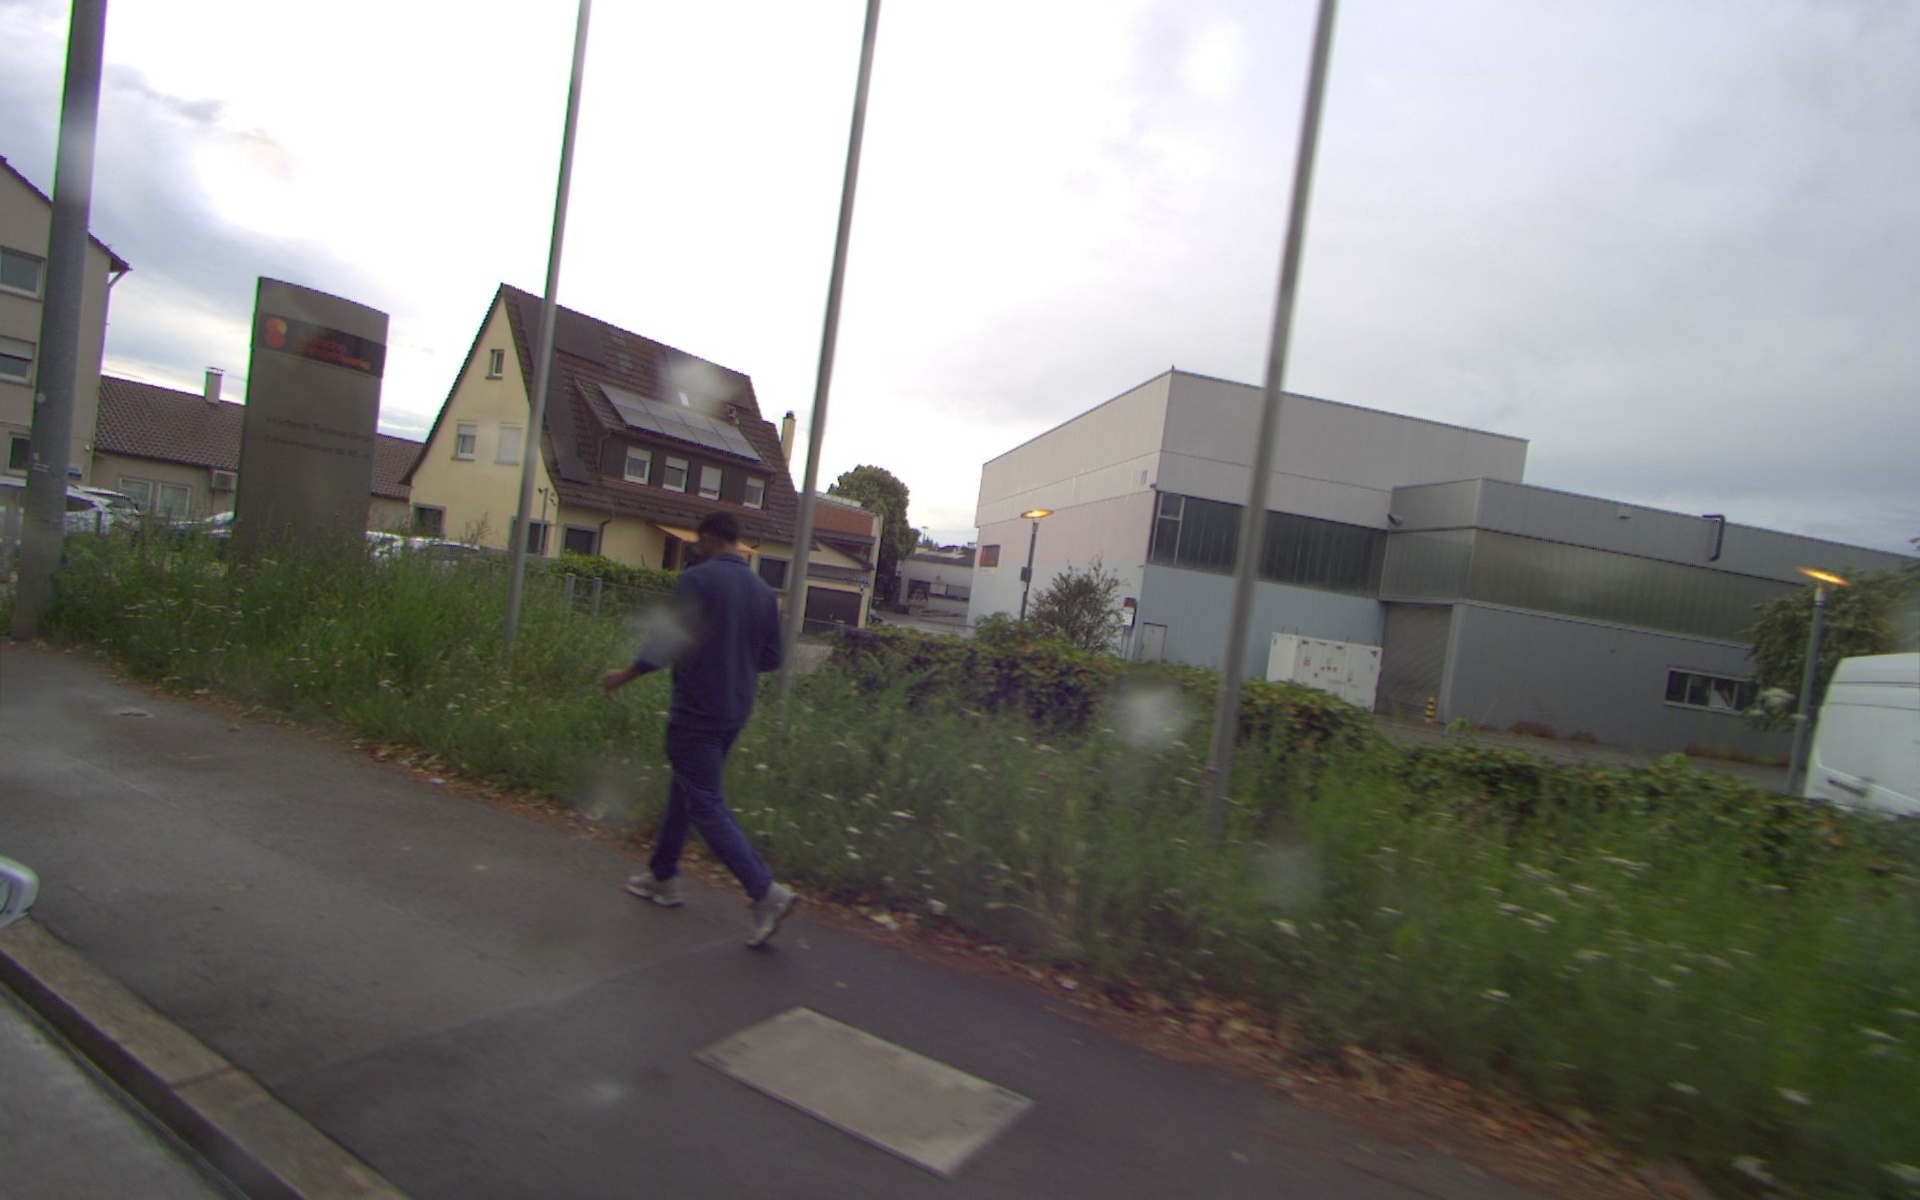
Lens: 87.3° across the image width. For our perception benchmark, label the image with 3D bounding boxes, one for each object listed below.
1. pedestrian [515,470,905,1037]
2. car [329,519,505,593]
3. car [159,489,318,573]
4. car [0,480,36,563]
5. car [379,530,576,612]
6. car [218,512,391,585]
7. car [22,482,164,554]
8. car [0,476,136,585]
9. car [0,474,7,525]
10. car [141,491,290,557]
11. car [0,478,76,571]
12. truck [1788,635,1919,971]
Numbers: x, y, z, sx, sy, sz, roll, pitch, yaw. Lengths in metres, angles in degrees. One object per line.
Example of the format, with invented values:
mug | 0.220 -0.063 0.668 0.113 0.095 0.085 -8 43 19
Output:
pedestrian | -0.975 0.532 4.090 0.886 1.920 1.044 6 0 31
car | -15.774 -1.228 29.426 1.966 1.485 3.997 6 -3 30
car | -23.021 -2.178 32.239 1.695 2.036 3.589 6 -3 29
car | -22.805 -1.998 21.473 1.839 1.756 4.076 6 -3 31
car | -13.198 -0.744 27.807 1.838 1.646 4.510 7 -1 31
car | -20.591 -1.583 31.782 1.764 1.618 4.095 6 -3 30
car | -24.050 -2.280 27.897 3.567 1.548 1.812 6 -2 31
car | -18.577 -1.482 18.849 1.967 1.788 4.312 6 -2 31
car | -25.131 -2.471 23.113 1.839 1.756 4.238 6 -3 31
car | -26.214 -2.626 35.484 3.975 1.611 1.800 9 -3 -42
car | -20.611 -1.764 20.104 1.761 1.744 3.958 7 -2 31
truck | 9.310 1.811 8.828 2.010 2.667 5.858 6 -3 30
